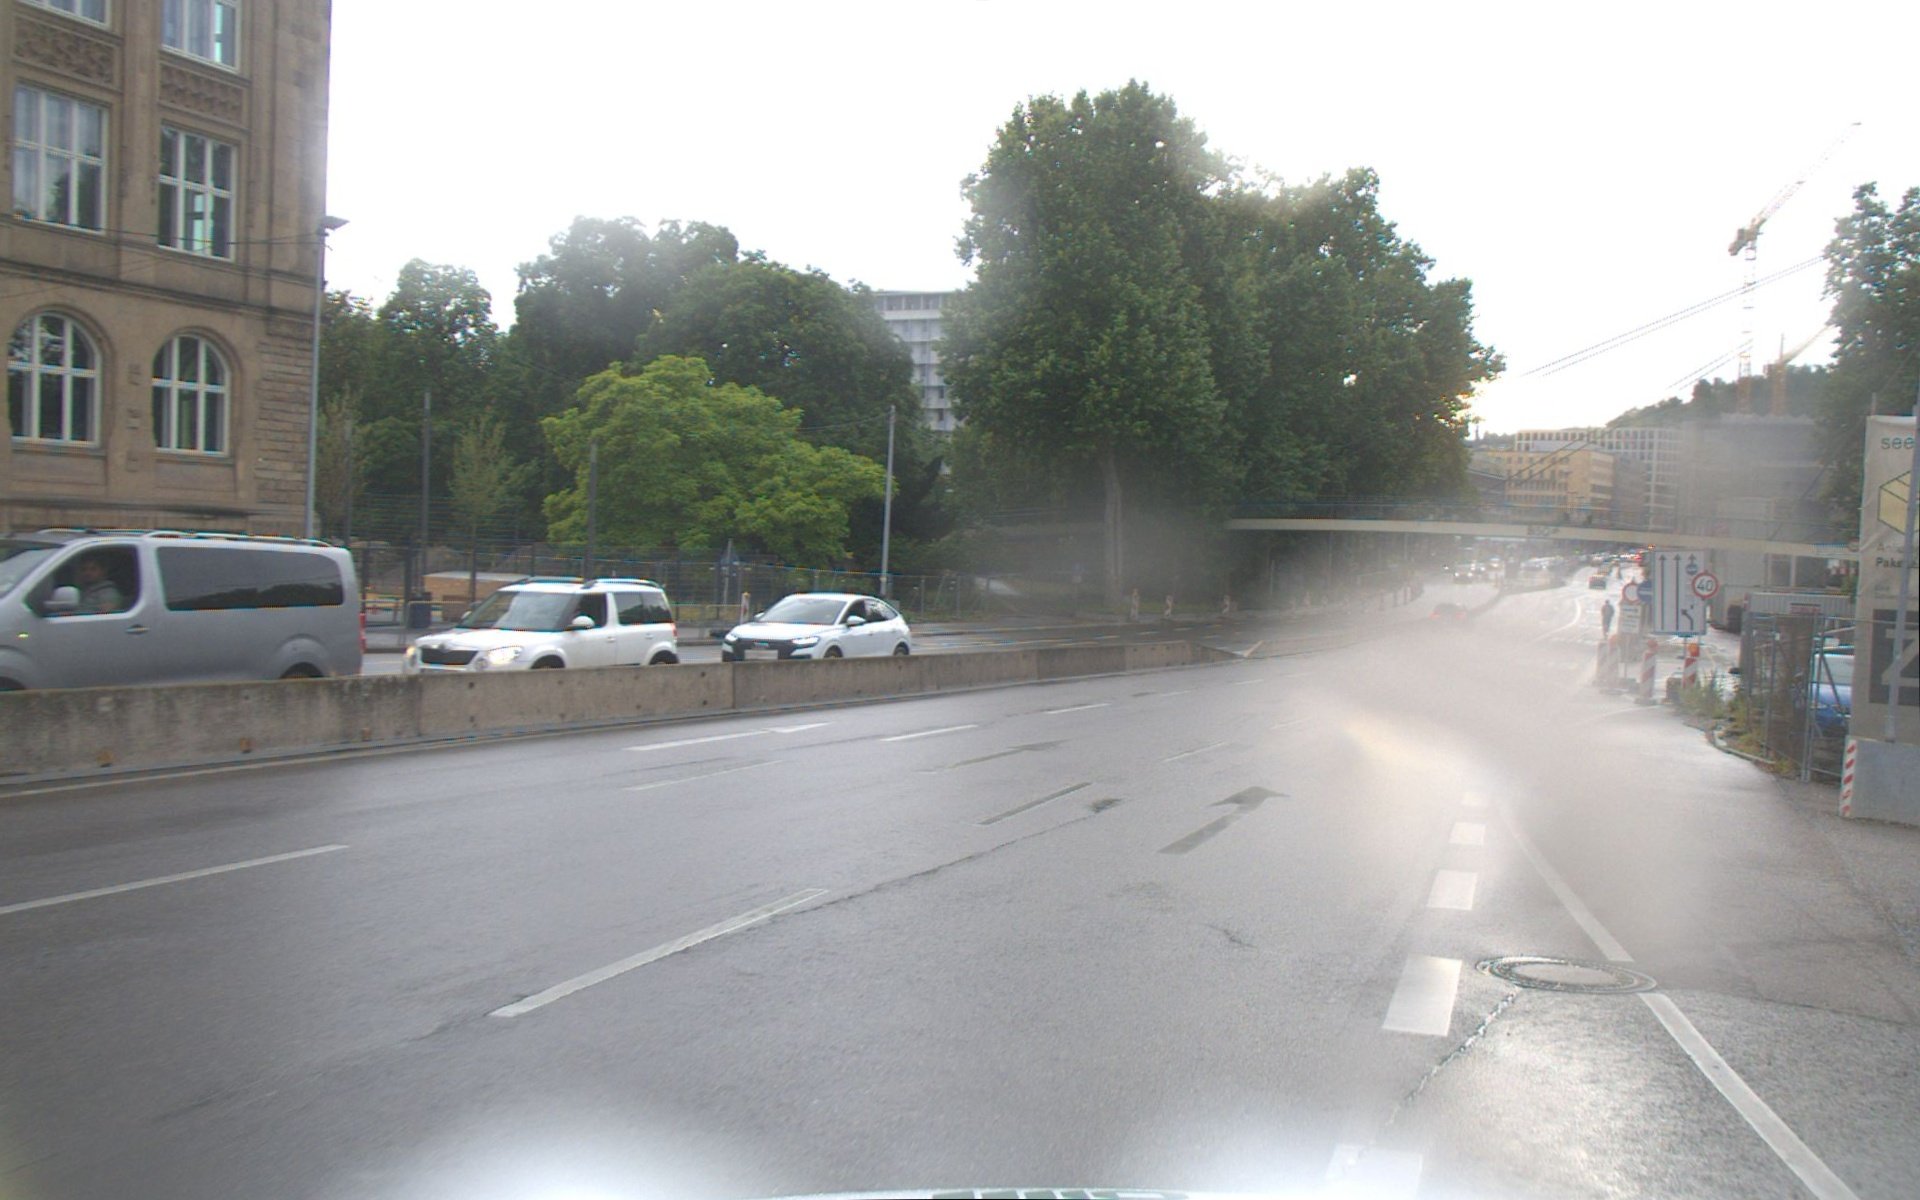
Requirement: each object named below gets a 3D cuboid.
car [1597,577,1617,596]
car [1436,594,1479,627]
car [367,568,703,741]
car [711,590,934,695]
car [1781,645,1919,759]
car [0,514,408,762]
[{"bbox_3d":[71.097,-1.453,181.682,1.953,2.049,3.998,1,0,23],"label":"car"},{"bbox_3d":[24.931,0.520,82.846,1.862,1.554,4.178,1,0,19],"label":"car"},{"bbox_3d":[-5.137,0.615,20.680,1.870,1.899,4.379,1,0,21],"label":"car"},{"bbox_3d":[-2.210,0.679,28.227,1.855,1.595,4.898,1,0,21],"label":"car"},{"bbox_3d":[14.266,1.562,26.530,1.797,1.466,4.409,4,1,26],"label":"car"},{"bbox_3d":[-7.609,0.296,14.804,1.952,1.899,5.595,1,0,21],"label":"car"}]
